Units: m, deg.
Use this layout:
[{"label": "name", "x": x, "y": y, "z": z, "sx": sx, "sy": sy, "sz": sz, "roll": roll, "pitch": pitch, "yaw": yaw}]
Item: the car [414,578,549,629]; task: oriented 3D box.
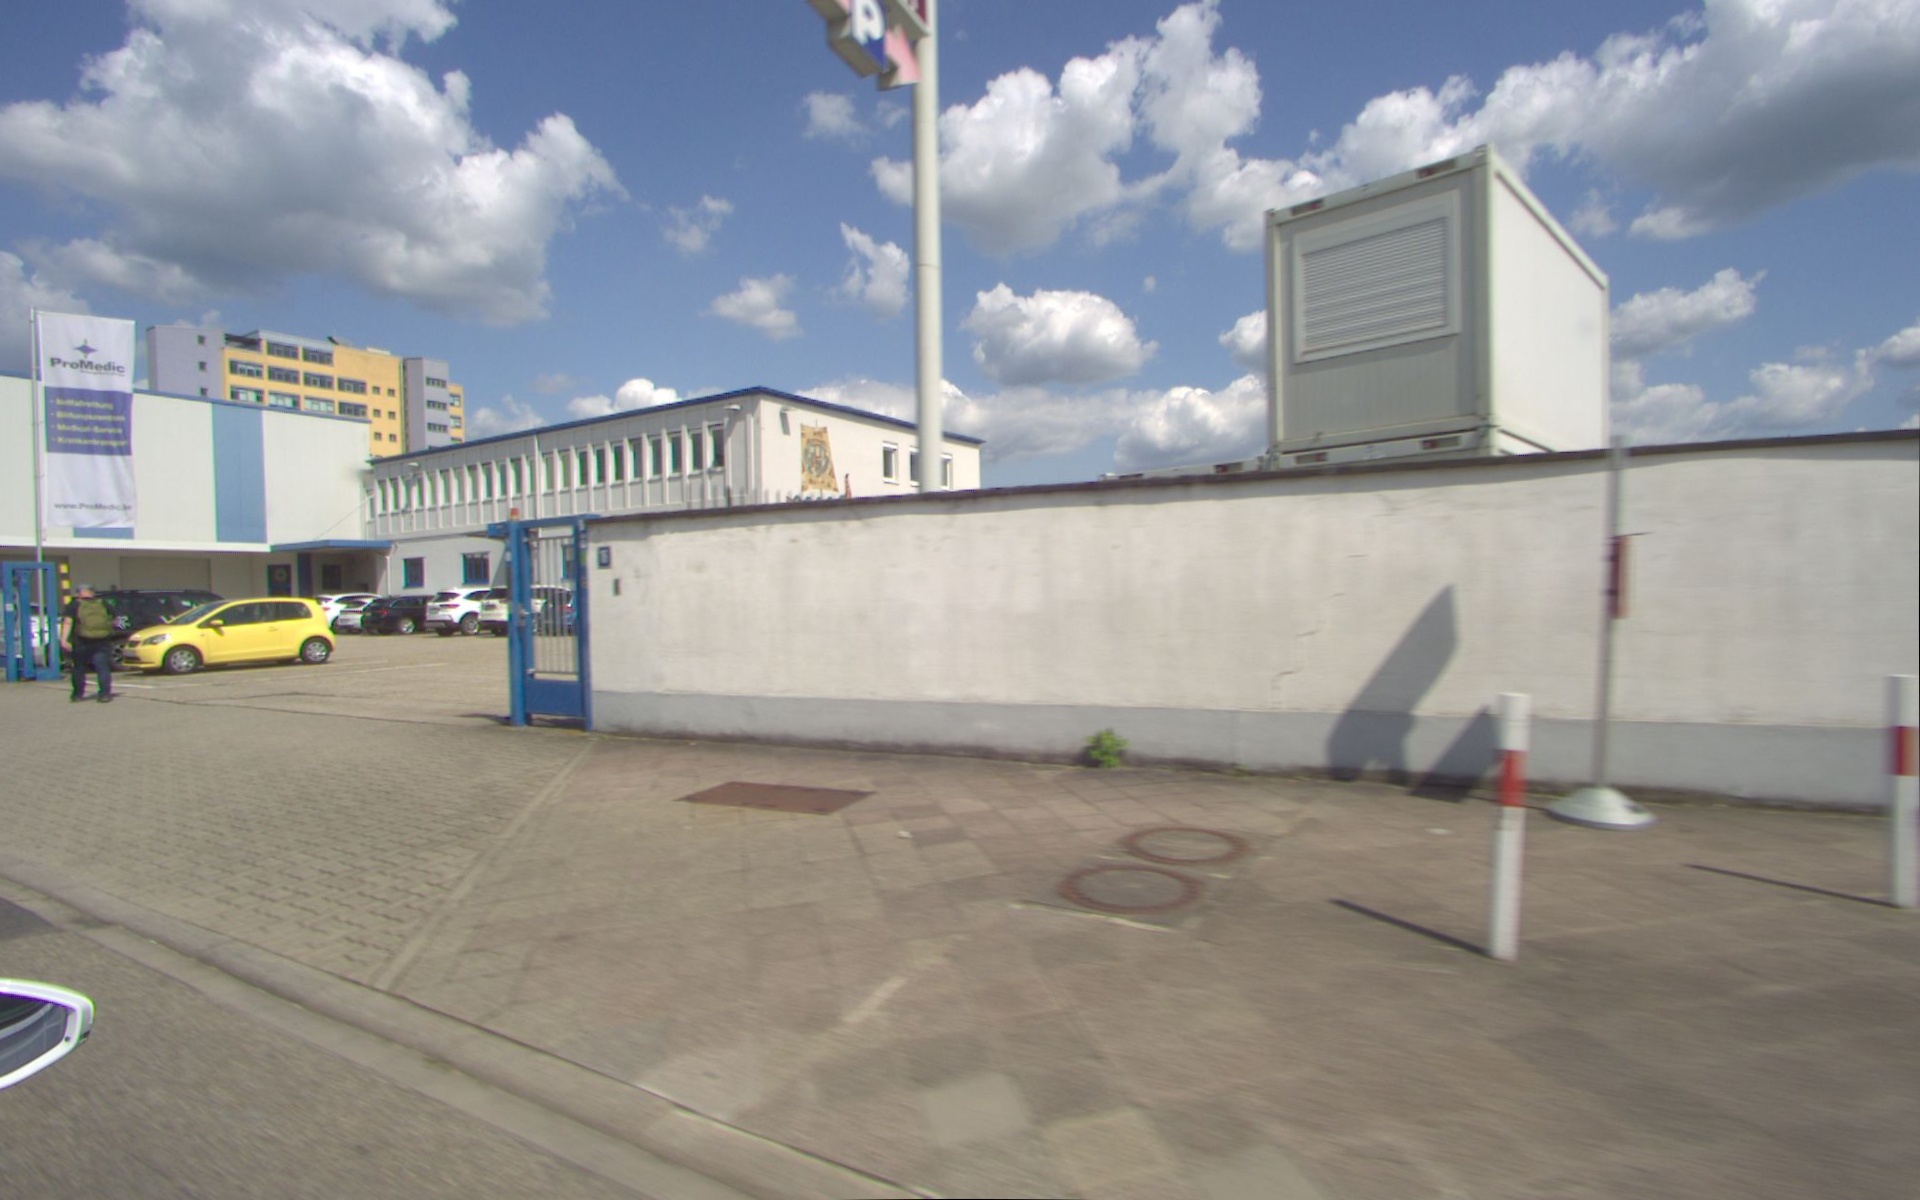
[{"label": "car", "x": -17.105, "y": 0.097, "z": 35.955, "sx": 1.907, "sy": 1.724, "sz": 3.978, "roll": 0, "pitch": 1, "yaw": 32}]

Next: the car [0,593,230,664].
[{"label": "car", "x": -19.677, "y": 0.595, "z": 23.219, "sx": 1.972, "sy": 1.439, "sz": 3.977, "roll": 0, "pitch": 1, "yaw": 33}]

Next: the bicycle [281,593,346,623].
[{"label": "bicycle", "x": -27.302, "y": 0.318, "z": 42.330, "sx": 0.632, "sy": 1.228, "sz": 2.219, "roll": 0, "pitch": 1, "yaw": 32}]

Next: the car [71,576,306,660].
[{"label": "car", "x": -17.137, "y": 0.373, "z": 22.410, "sx": 1.766, "sy": 1.702, "sz": 3.799, "roll": -1, "pitch": 0, "yaw": 32}]

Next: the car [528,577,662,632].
[{"label": "car", "x": -12.139, "y": 0.119, "z": 33.553, "sx": 1.780, "sy": 1.713, "sz": 3.978, "roll": 0, "pitch": 1, "yaw": 32}]

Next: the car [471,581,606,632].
[{"label": "car", "x": -14.357, "y": 0.181, "z": 34.296, "sx": 1.780, "sy": 1.652, "sz": 3.978, "roll": 0, "pitch": 1, "yaw": 32}]

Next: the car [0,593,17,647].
[{"label": "car", "x": -32.016, "y": 0.638, "z": 30.749, "sx": 1.971, "sy": 1.708, "sz": 4.076, "roll": 0, "pitch": 0, "yaw": 31}]

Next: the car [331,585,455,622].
[{"label": "car", "x": -22.820, "y": 0.113, "z": 40.443, "sx": 1.780, "sy": 1.418, "sz": 3.978, "roll": 0, "pitch": 1, "yaw": 32}]

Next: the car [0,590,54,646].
[{"label": "car", "x": -29.815, "y": 0.550, "z": 29.475, "sx": 2.116, "sy": 1.669, "sz": 4.218, "roll": 0, "pitch": 0, "yaw": 31}]

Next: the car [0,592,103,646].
[{"label": "car", "x": -27.270, "y": 0.541, "z": 28.267, "sx": 1.972, "sy": 1.439, "sz": 4.268, "roll": 0, "pitch": 1, "yaw": 33}]

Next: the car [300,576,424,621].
[{"label": "car", "x": -24.749, "y": -0.066, "z": 41.561, "sx": 1.780, "sy": 1.763, "sz": 4.049, "roll": 0, "pitch": 1, "yaw": 32}]

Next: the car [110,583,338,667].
[{"label": "car", "x": -15.339, "y": 0.458, "z": 21.013, "sx": 1.766, "sy": 1.510, "sz": 3.395, "roll": -1, "pitch": 2, "yaw": 32}]

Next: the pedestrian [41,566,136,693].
[{"label": "pedestrian", "x": -12.732, "y": 0.408, "z": 14.645, "sx": 0.775, "sy": 1.781, "sz": 0.767, "roll": 0, "pitch": 3, "yaw": 32}]

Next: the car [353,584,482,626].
[{"label": "car", "x": -20.984, "y": 0.170, "z": 38.880, "sx": 1.906, "sy": 1.528, "sz": 3.979, "roll": 0, "pitch": 1, "yaw": 31}]

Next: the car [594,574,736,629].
[{"label": "car", "x": -9.109, "y": 0.020, "z": 31.174, "sx": 1.840, "sy": 1.506, "sz": 3.868, "roll": -1, "pitch": 2, "yaw": 36}]
